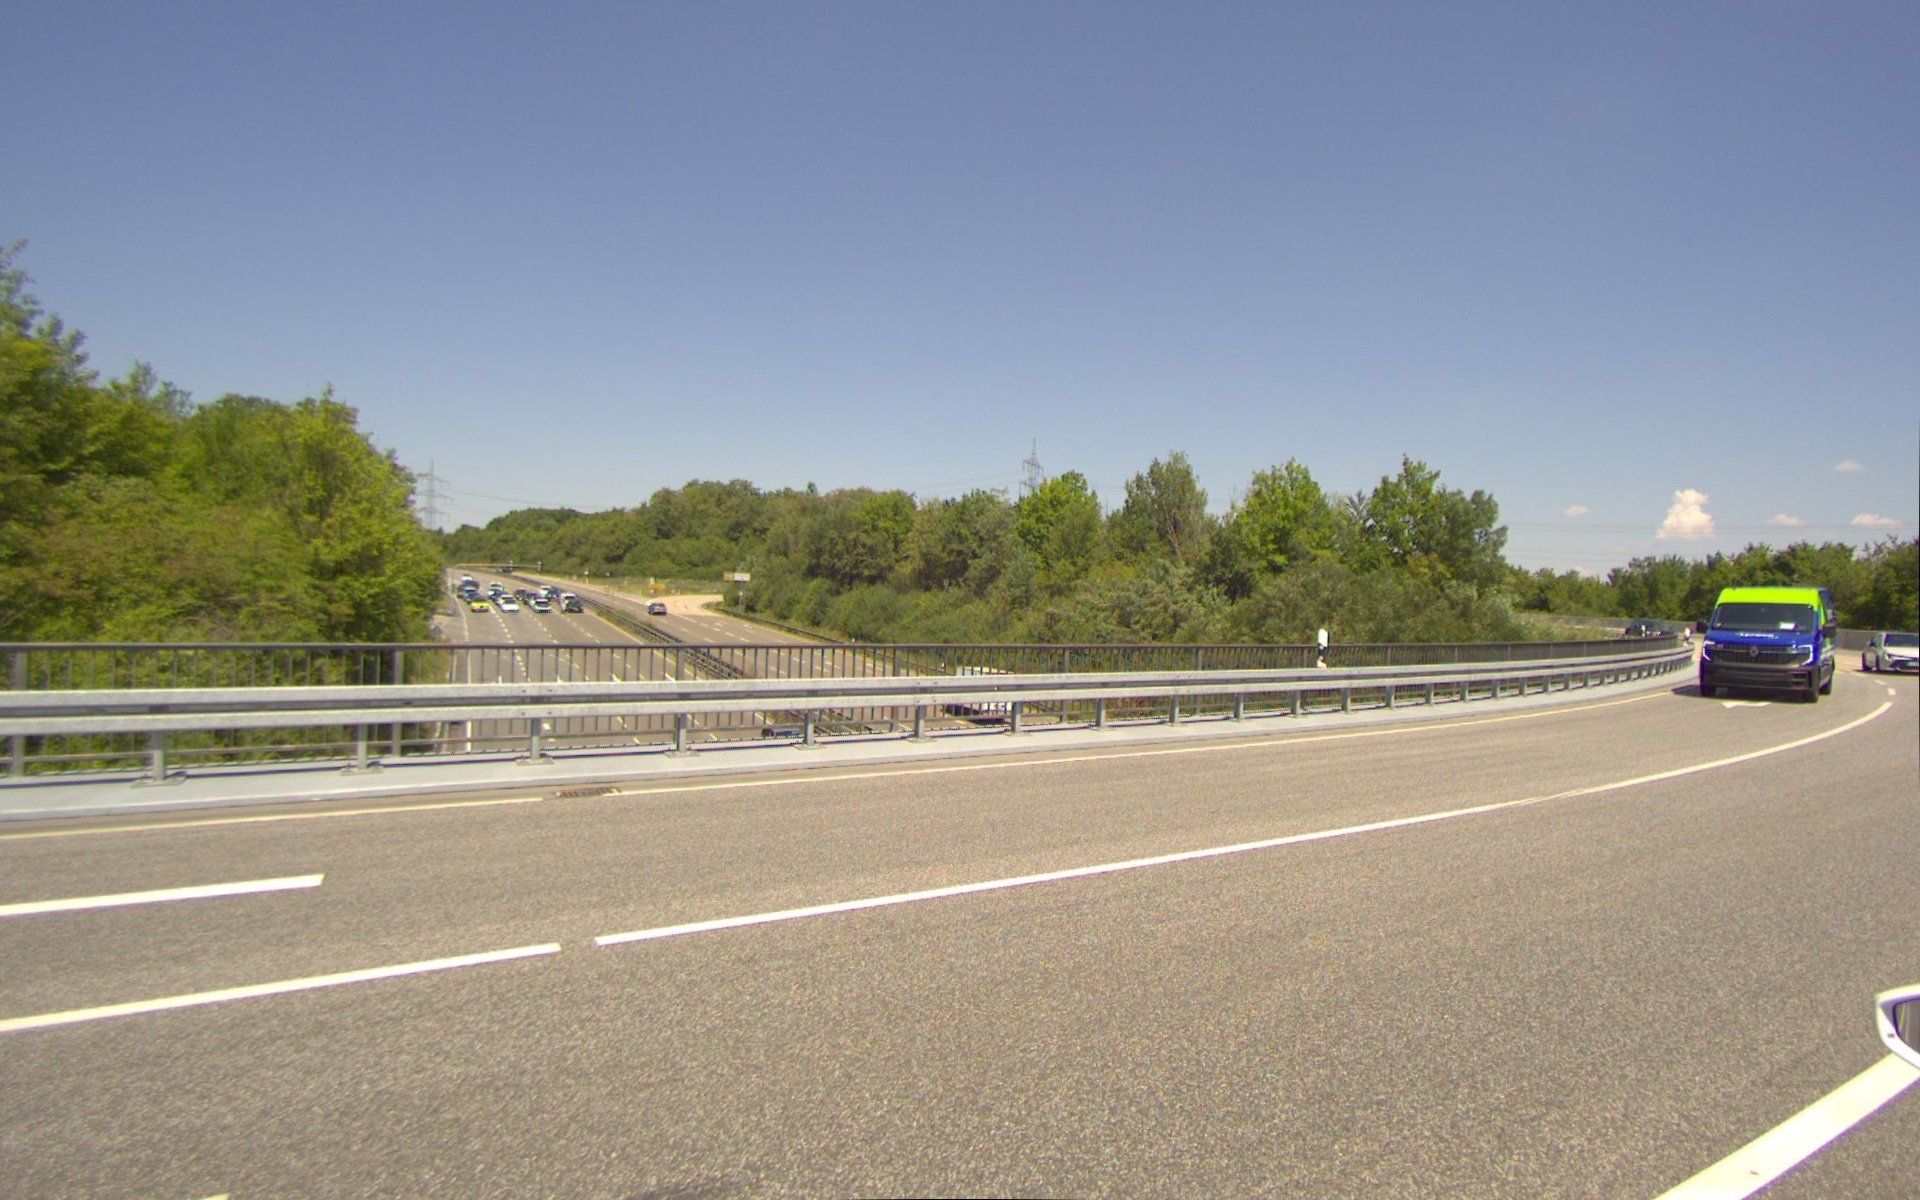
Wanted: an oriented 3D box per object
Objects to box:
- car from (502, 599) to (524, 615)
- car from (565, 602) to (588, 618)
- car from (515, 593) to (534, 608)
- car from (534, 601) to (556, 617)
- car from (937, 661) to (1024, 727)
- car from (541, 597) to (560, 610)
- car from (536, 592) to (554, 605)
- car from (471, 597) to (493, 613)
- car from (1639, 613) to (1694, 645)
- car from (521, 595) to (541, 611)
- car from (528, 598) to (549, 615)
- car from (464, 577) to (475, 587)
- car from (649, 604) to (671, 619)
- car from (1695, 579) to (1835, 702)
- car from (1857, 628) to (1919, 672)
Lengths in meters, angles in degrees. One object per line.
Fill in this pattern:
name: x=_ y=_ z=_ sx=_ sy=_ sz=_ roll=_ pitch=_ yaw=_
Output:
car: x=-53.185 y=0.847 z=119.582 sx=1.977 sy=1.662 sz=3.967 roll=2 pitch=1 yaw=-30
car: x=-47.059 y=1.220 z=123.229 sx=1.977 sy=1.662 sz=3.967 roll=2 pitch=1 yaw=-30
car: x=-61.592 y=0.076 z=141.916 sx=1.977 sy=1.929 sz=3.967 roll=2 pitch=1 yaw=-30
car: x=-50.036 y=1.043 z=121.035 sx=1.977 sy=1.662 sz=3.967 roll=2 pitch=1 yaw=-30
car: x=1.100 y=5.320 z=57.871 sx=2.598 sy=2.961 sz=5.450 roll=2 pitch=3 yaw=-28
car: x=-58.272 y=0.511 z=142.981 sx=1.977 sy=1.662 sz=3.967 roll=2 pitch=1 yaw=-30
car: x=-61.560 y=-0.197 z=148.880 sx=1.977 sy=1.662 sz=3.967 roll=2 pitch=1 yaw=-30
car: x=-56.510 y=0.634 z=118.718 sx=1.977 sy=1.662 sz=3.967 roll=2 pitch=1 yaw=-30
car: x=42.779 y=1.747 z=60.904 sx=1.786 sy=1.617 sz=4.444 roll=-1 pitch=2 yaw=23
car: x=-57.210 y=0.443 z=133.989 sx=1.977 sy=1.929 sz=3.967 roll=2 pitch=1 yaw=-30
car: x=-53.480 y=0.753 z=127.492 sx=1.977 sy=1.929 sz=3.967 roll=2 pitch=1 yaw=-30
car: x=-93.998 y=-3.389 z=192.314 sx=1.781 sy=1.670 sz=3.613 roll=3 pitch=3 yaw=-28
car: x=-38.313 y=1.451 z=128.262 sx=1.976 sy=1.617 sz=3.969 roll=1 pitch=4 yaw=-29
car: x=18.611 y=0.855 z=23.105 sx=1.973 sy=2.517 sz=5.447 roll=1 pitch=0 yaw=44
car: x=33.248 y=1.752 z=35.546 sx=1.719 sy=1.478 sz=4.353 roll=0 pitch=-2 yaw=35
